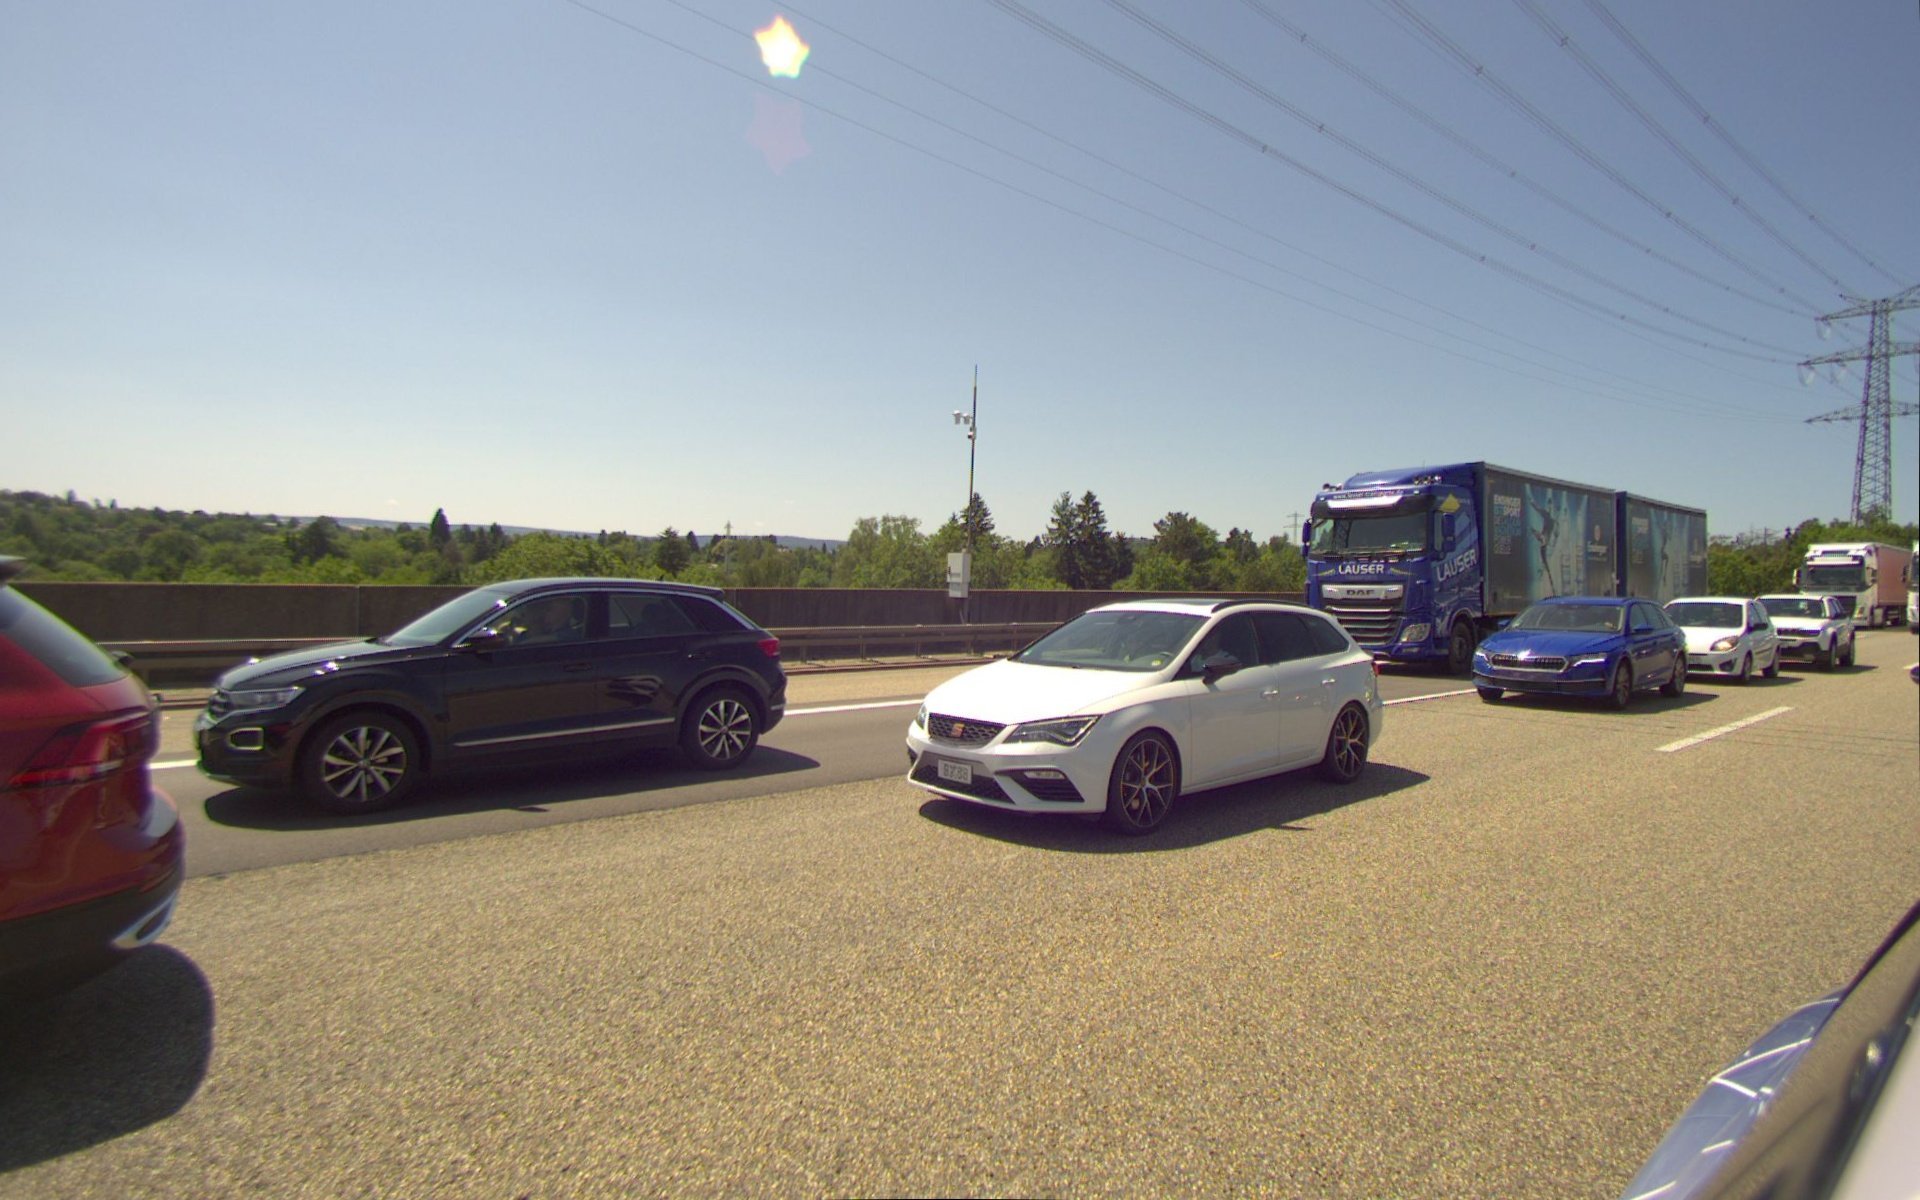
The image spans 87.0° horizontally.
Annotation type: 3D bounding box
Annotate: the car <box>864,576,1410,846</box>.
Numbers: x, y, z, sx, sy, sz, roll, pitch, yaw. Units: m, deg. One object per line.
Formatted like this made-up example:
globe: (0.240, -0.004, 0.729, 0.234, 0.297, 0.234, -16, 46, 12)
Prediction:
car: (1.542, 0.605, 7.593, 4.352, 1.470, 1.711, 0, 0, -41)

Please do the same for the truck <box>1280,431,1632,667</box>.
truck: (10.945, -0.934, 21.554, 10.210, 3.999, 2.857, -1, 0, -40)

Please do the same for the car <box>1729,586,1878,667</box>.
car: (17.758, 0.480, 21.250, 4.071, 1.529, 1.712, -1, 1, -40)

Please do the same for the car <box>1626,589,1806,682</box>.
car: (13.602, 0.553, 18.126, 4.071, 1.470, 1.712, -1, 1, -40)

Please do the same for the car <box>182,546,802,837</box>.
car: (-3.407, 0.499, 7.820, 4.047, 1.675, 1.711, -1, 1, -41)

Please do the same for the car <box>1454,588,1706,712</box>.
car: (8.847, 0.585, 14.272, 4.483, 1.470, 1.712, -1, 1, -40)

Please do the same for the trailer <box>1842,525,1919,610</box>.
trailer: (49.350, -1.656, 53.770, 8.927, 4.169, 2.606, -1, 0, -41)

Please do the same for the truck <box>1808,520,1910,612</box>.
truck: (42.877, -1.552, 48.170, 8.121, 4.038, 2.606, -1, 0, -41)

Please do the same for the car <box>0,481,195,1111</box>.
car: (-4.419, 0.551, 2.283, 4.210, 1.700, 1.711, -1, 0, -41)

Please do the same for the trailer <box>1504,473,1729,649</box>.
trailer: (18.099, -0.981, 27.609, 8.485, 4.140, 2.833, -1, 0, -40)
